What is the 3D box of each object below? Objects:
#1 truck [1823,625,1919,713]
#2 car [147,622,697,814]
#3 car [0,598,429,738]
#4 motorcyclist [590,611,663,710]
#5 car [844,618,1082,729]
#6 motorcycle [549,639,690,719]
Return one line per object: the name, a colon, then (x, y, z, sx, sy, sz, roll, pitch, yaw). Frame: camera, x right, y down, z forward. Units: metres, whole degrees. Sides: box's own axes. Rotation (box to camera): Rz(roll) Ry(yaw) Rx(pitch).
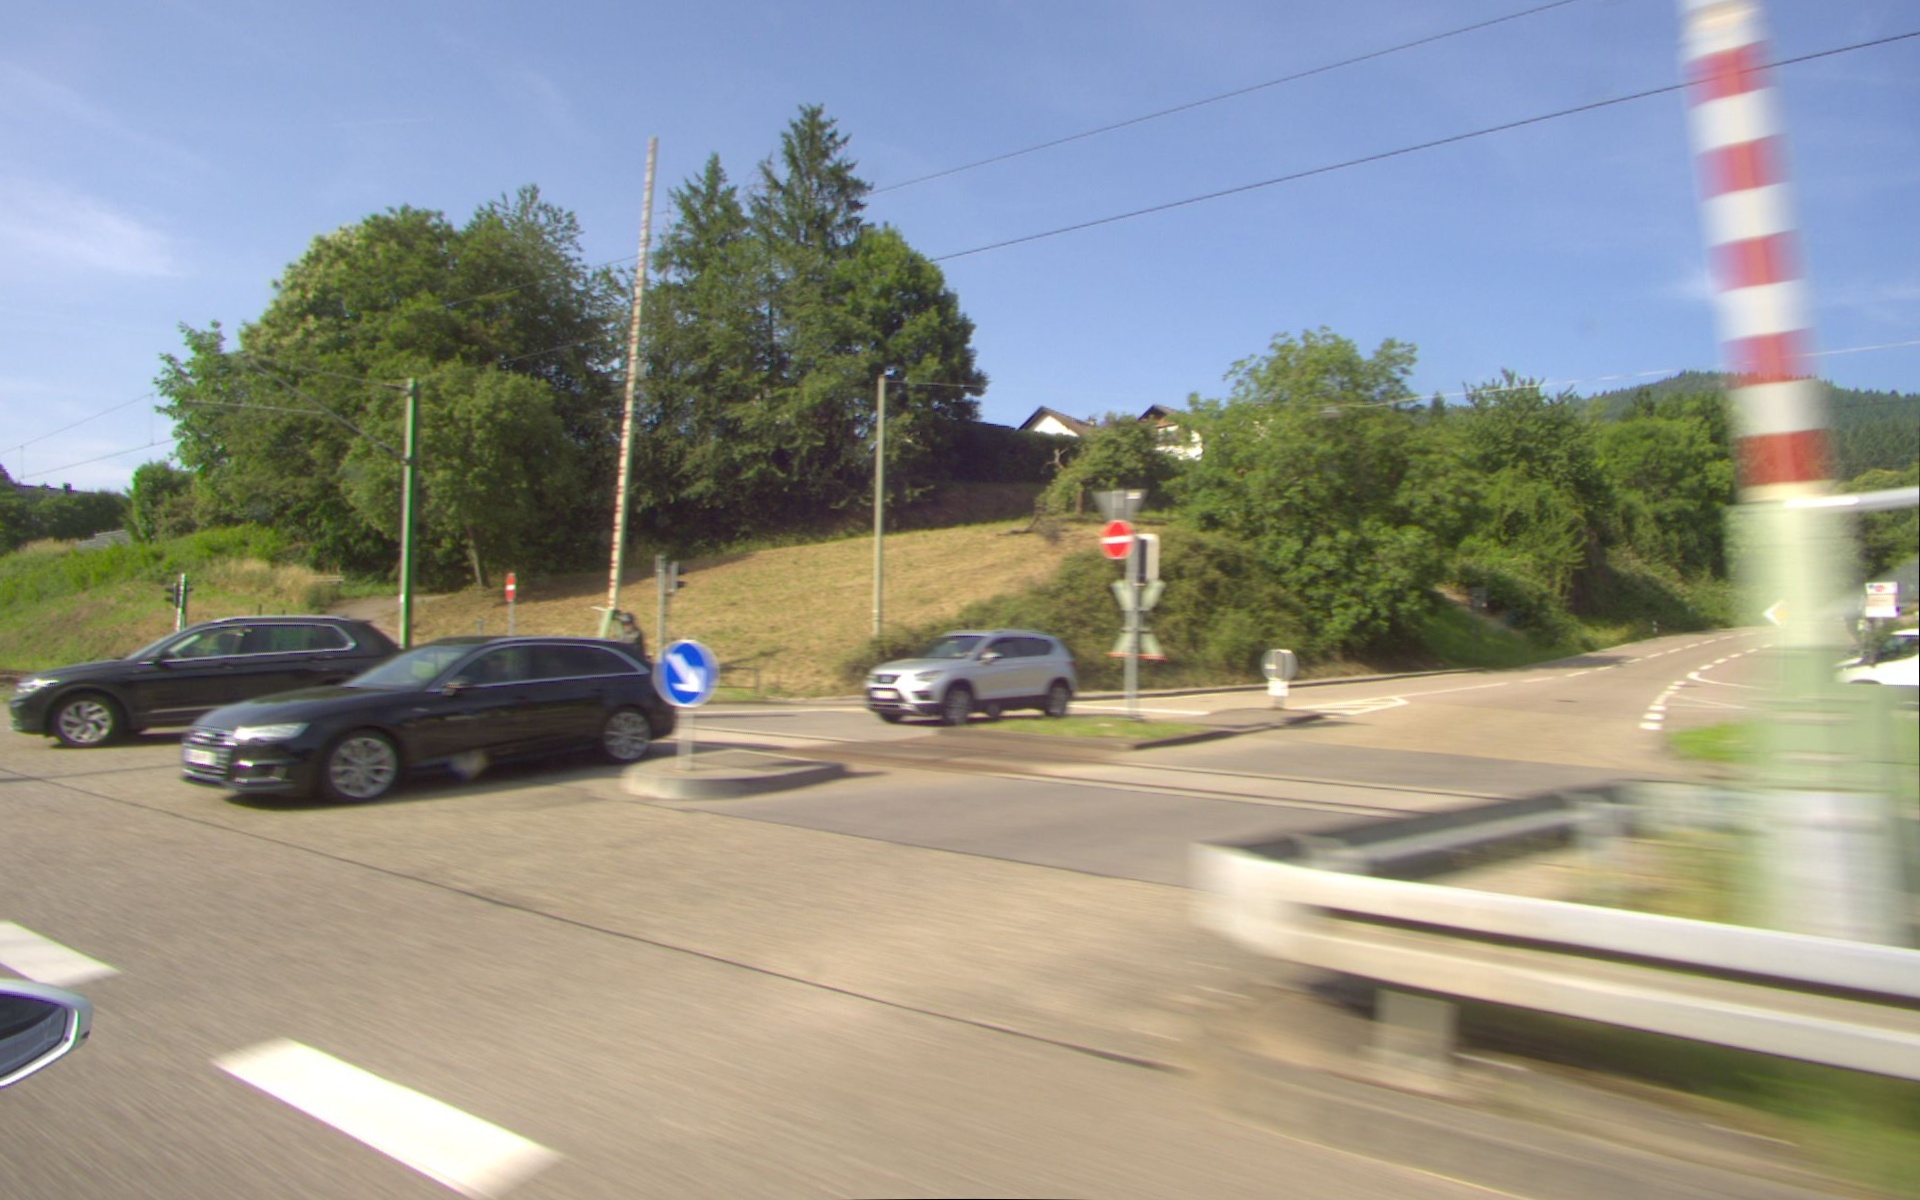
truck: (26.403, 1.767, 25.802, 2.377, 2.261, 5.899, 0, -2, -35)
car: (-5.130, 0.980, 10.297, 1.816, 1.489, 4.716, 0, -1, 33)
car: (-10.089, 0.887, 13.981, 4.671, 1.681, 1.922, 1, -1, -28)
motorcyclist: (-5.659, 1.024, 16.999, 0.900, 1.617, 0.759, 4, -3, -42)
car: (0.156, 1.264, 17.532, 1.816, 1.707, 4.091, -1, -4, 44)
motorcycle: (-5.739, 1.331, 16.943, 2.078, 1.270, 0.792, 4, -3, -41)
